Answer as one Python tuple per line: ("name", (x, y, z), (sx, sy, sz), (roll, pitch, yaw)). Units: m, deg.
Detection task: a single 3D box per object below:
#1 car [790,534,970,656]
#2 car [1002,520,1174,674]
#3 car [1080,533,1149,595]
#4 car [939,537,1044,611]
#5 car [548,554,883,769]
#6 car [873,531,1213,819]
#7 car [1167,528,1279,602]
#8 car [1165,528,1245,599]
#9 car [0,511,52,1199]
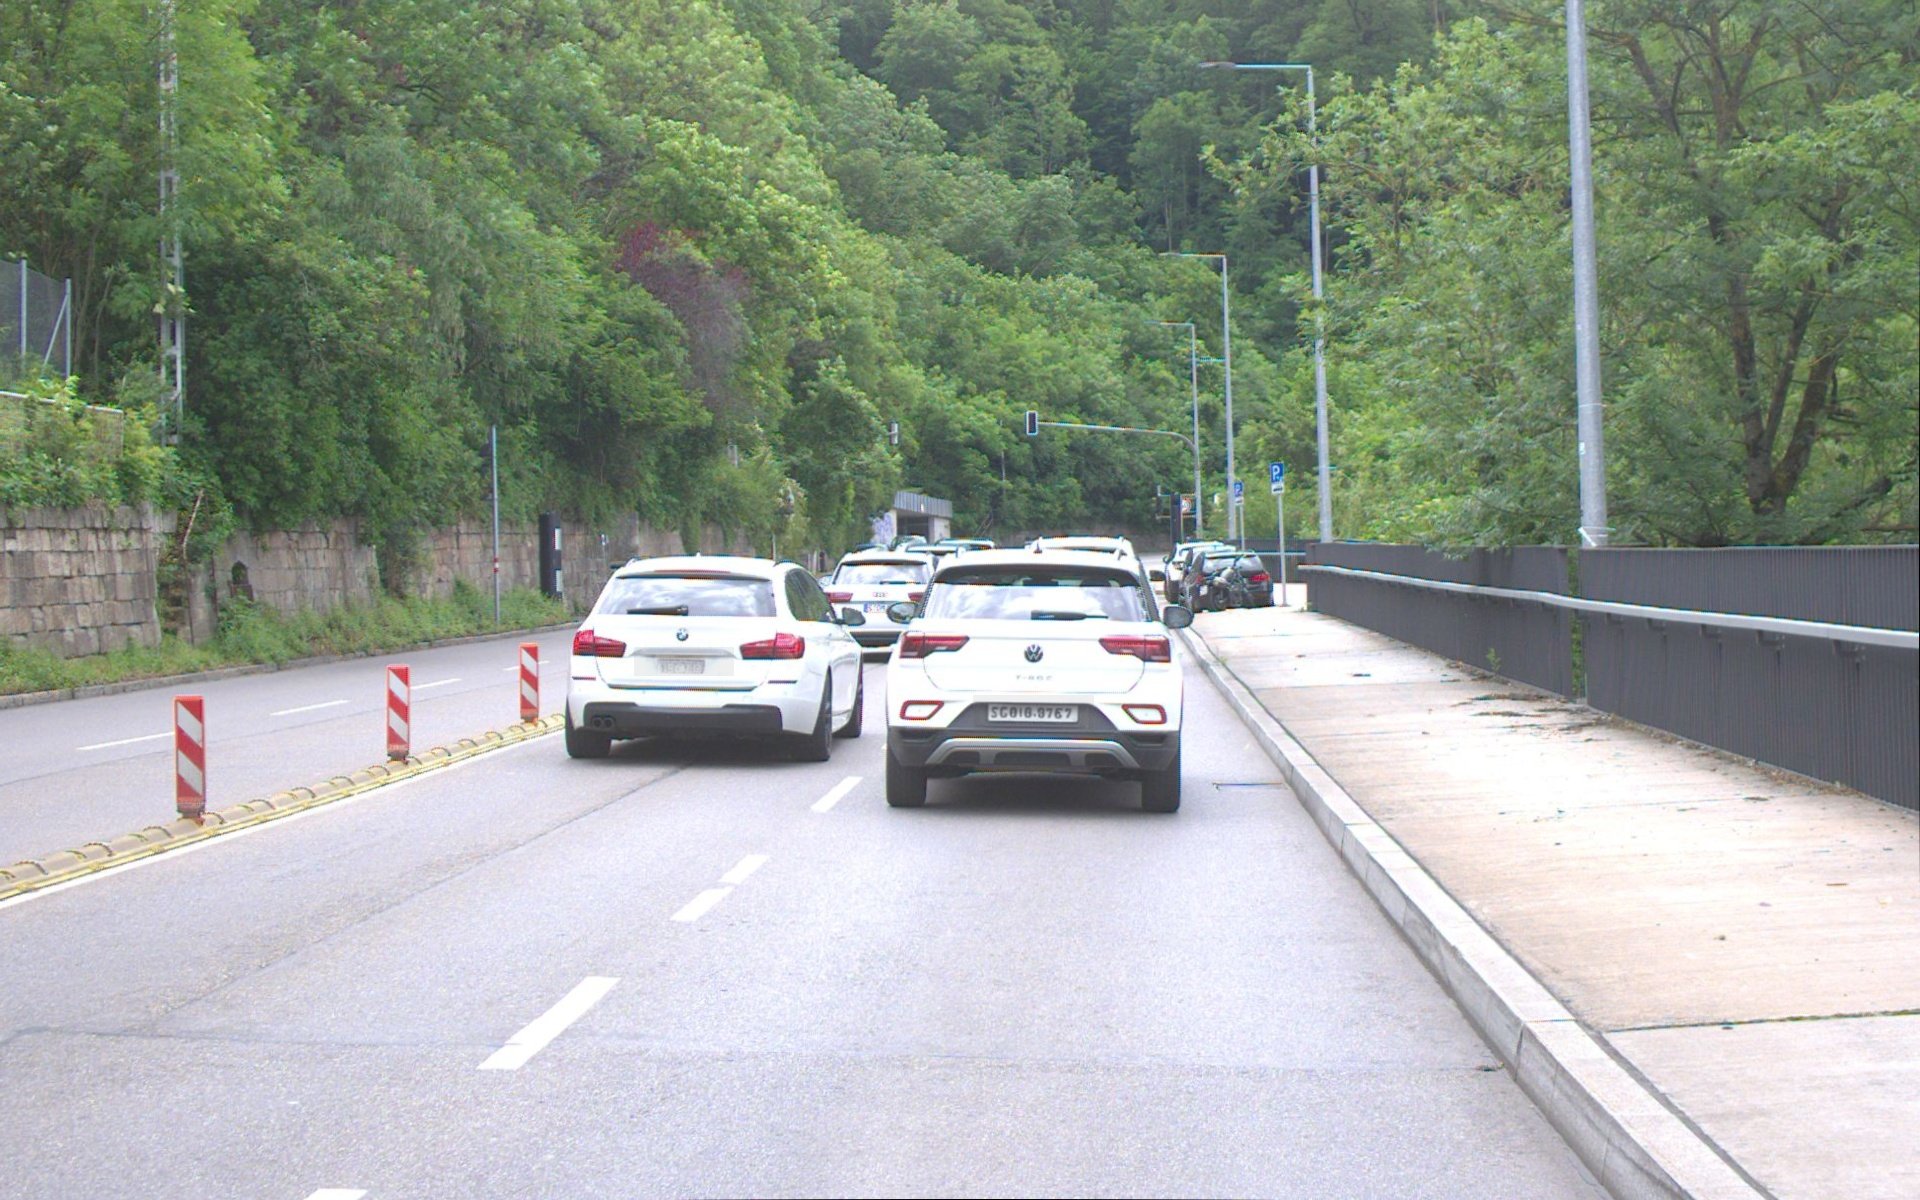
("car", (-1.038, -0.102, 47.082), (1.994, 1.498, 4.667), (-1, 2, 4))
("car", (1.598, -0.083, 42.219), (1.994, 1.712, 4.114), (1, 2, 3))
("car", (4.831, -1.112, 107.869), (1.993, 1.853, 4.000), (2, 0, 1))
("car", (0.738, -0.606, 76.196), (1.994, 1.498, 4.667), (-1, 2, 4))
("car", (-1.726, 0.390, 25.763), (1.828, 1.454, 4.485), (0, 1, 5))
("car", (0.621, 0.405, 21.745), (1.828, 1.600, 3.999), (2, 1, 6))
("car", (5.530, -0.744, 72.621), (1.814, 1.503, 4.001), (0, 1, -4))
("car", (6.419, -0.975, 90.493), (1.994, 1.712, 4.114), (1, 2, 3))
("car", (-2.892, 0.621, 4.935), (1.821, 1.575, 4.355), (0, 0, 3))
